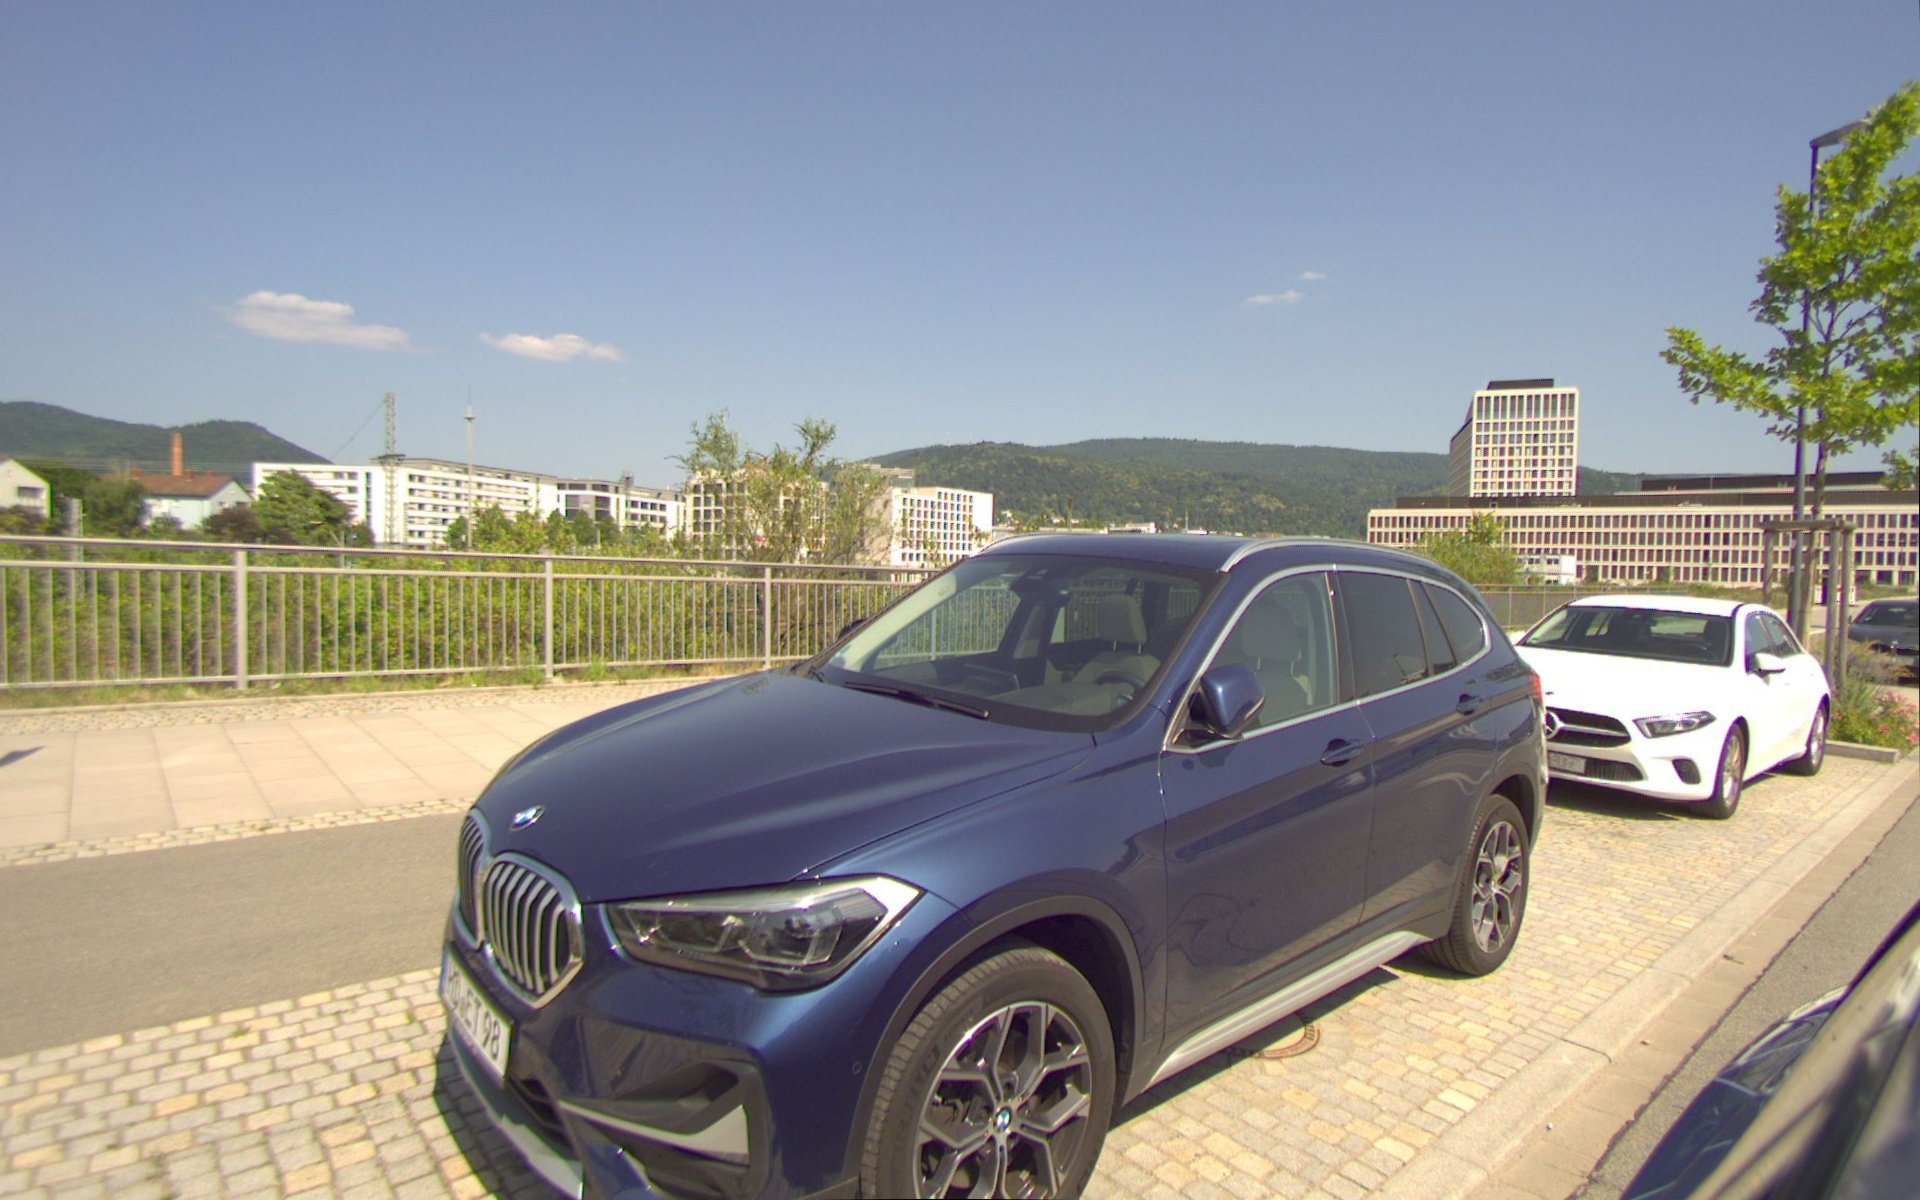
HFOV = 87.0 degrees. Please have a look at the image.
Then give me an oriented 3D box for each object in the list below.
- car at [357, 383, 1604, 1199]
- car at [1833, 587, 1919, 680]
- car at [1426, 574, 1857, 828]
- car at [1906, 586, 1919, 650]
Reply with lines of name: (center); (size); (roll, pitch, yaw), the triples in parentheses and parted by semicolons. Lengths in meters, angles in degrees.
car: (0.473, 0.465, 3.534); (4.196, 1.703, 1.808); (-1, 4, -41)
car: (17.113, 0.553, 17.986); (3.848, 1.449, 1.808); (-1, 5, -41)
car: (5.536, 0.567, 8.005); (4.196, 1.390, 1.711); (-1, 5, -41)
car: (24.020, 0.466, 24.253); (2.954, 1.491, 1.569); (-1, 5, -41)
